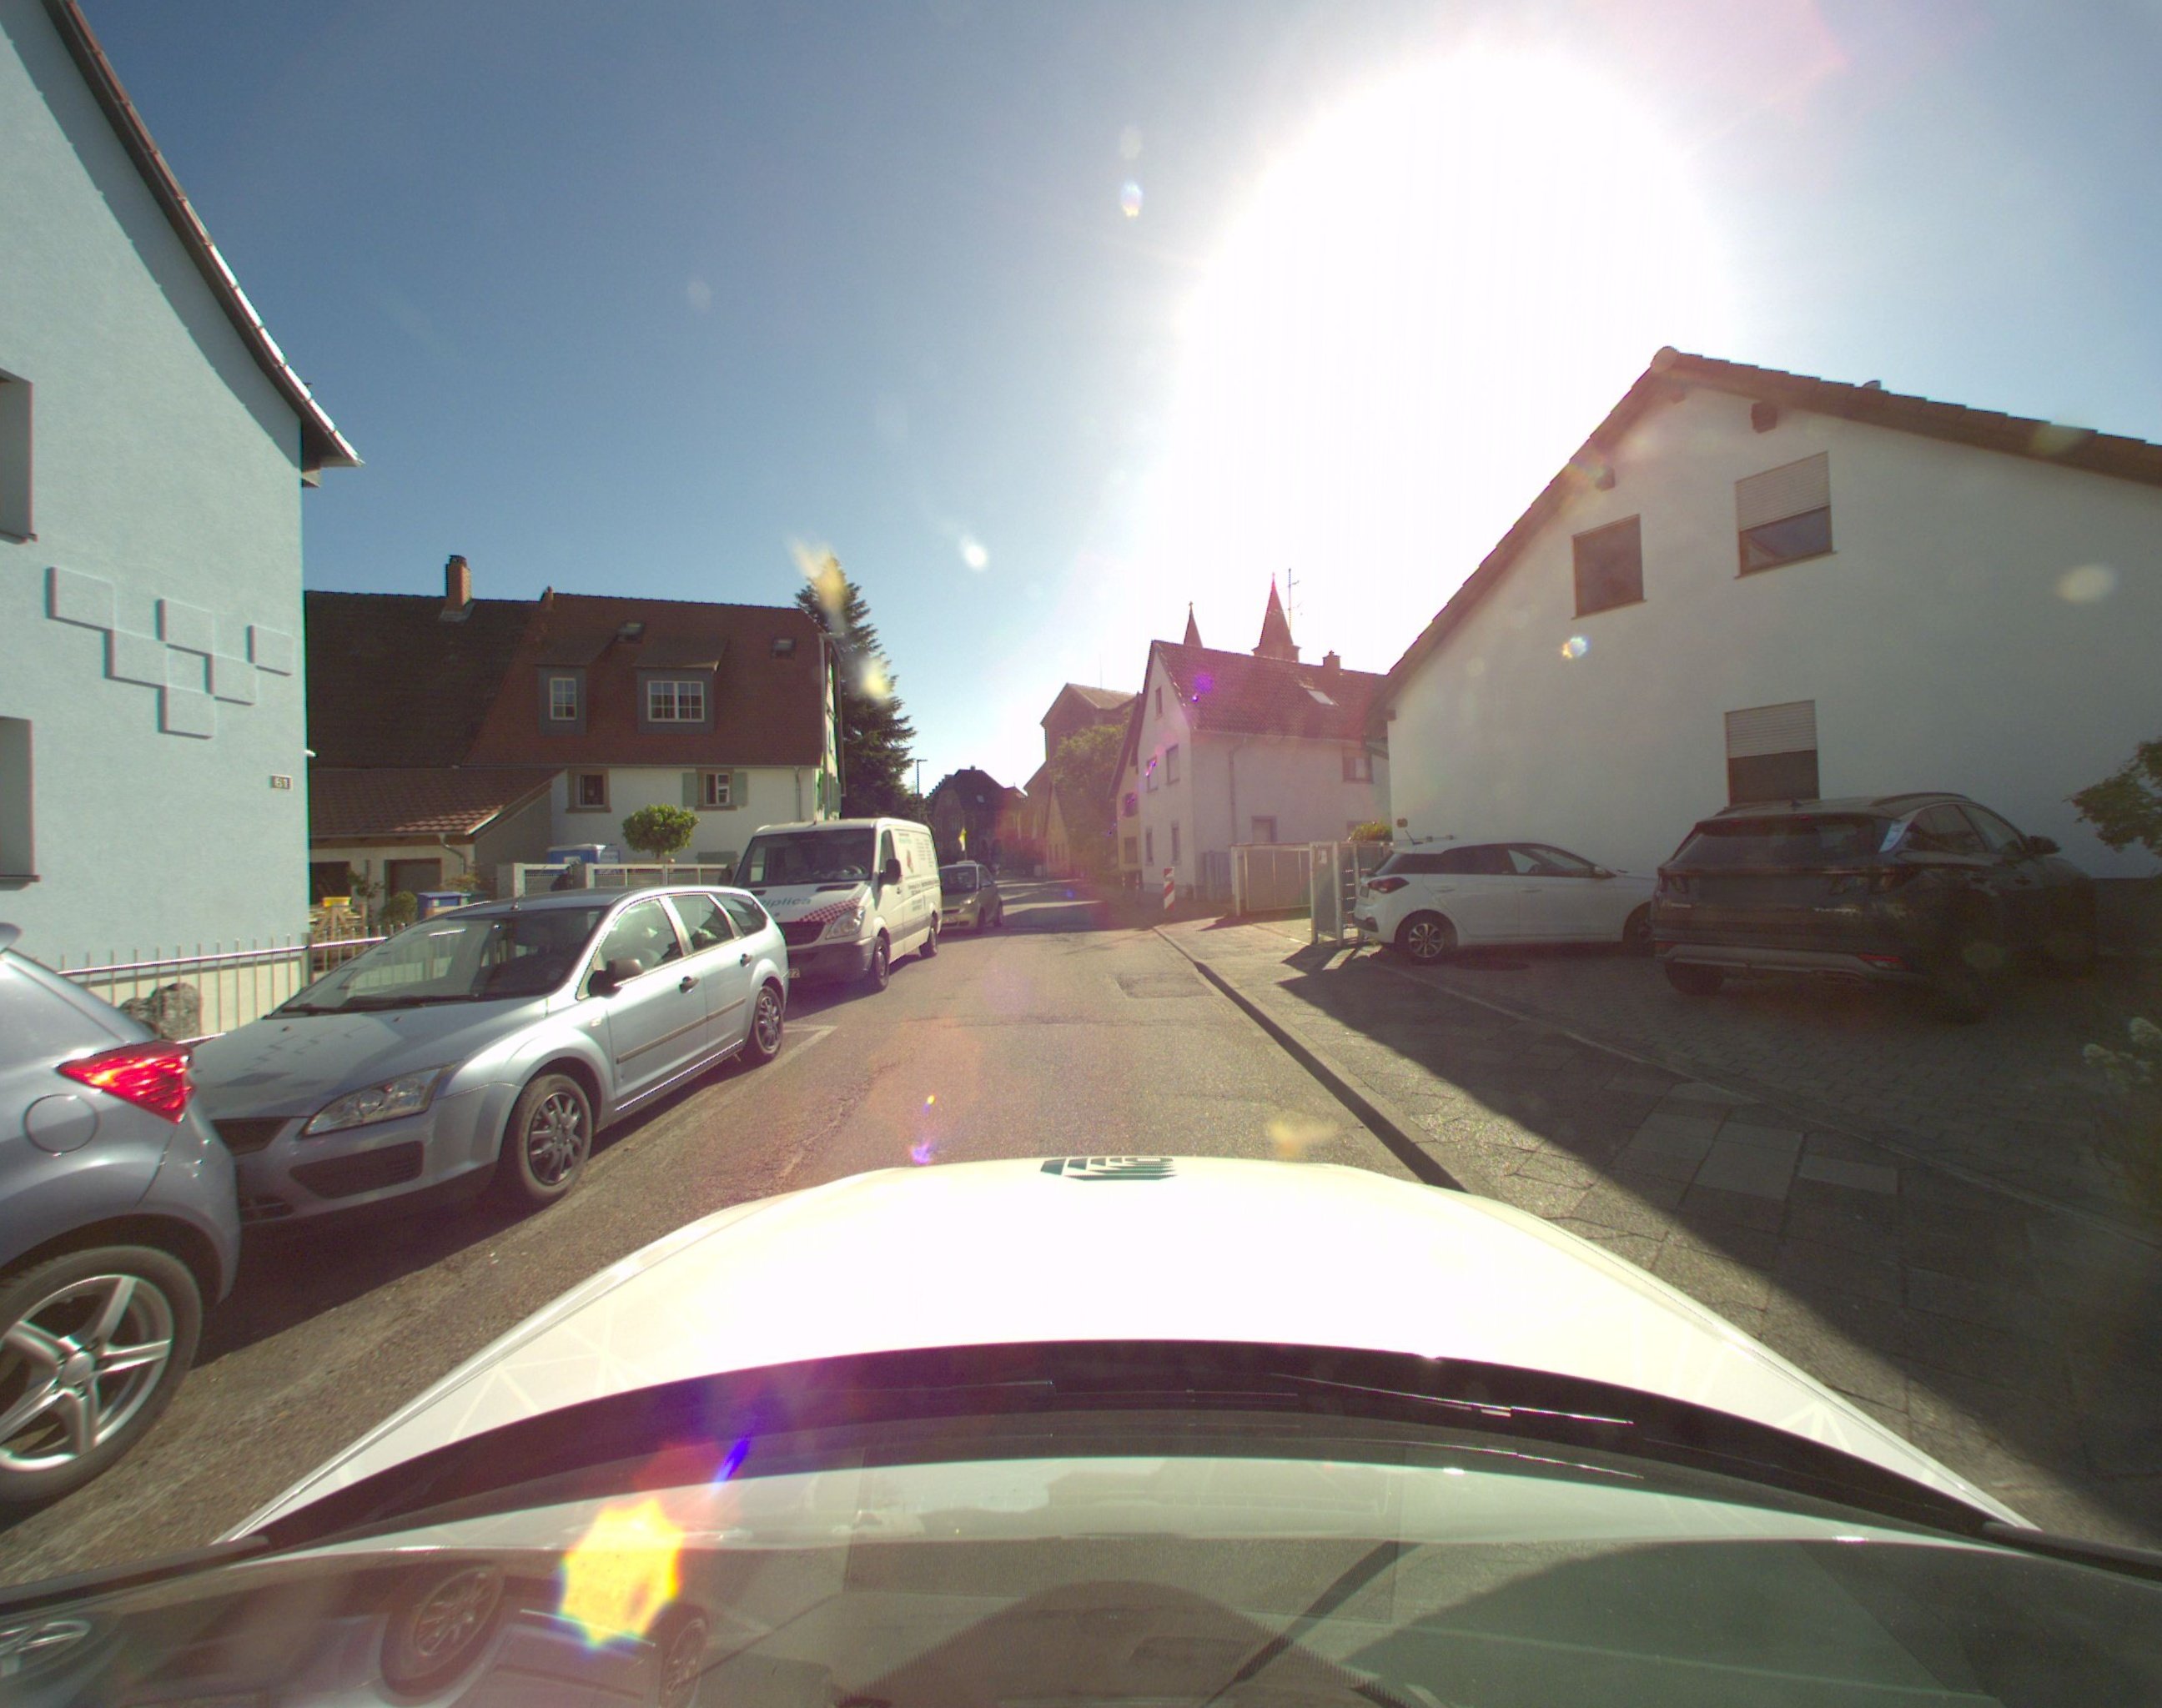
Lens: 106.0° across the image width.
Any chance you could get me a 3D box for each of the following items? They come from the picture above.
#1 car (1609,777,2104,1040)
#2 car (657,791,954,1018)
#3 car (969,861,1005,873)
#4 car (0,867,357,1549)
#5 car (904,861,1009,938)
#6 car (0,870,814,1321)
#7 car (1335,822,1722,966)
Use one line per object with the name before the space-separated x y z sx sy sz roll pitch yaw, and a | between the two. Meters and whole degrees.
car | 6.763 0.280 7.060 4.060 1.688 1.894 -3 0 -28
car | -3.558 0.568 12.163 2.190 2.390 6.064 -4 0 0
car | -12.126 1.668 105.335 4.270 1.400 1.697 -3 0 -41
car | -3.444 0.870 0.889 1.709 1.598 3.925 -3 0 0
car | -2.768 0.979 18.709 1.565 1.546 2.971 -3 0 7
car | -3.297 0.941 5.157 1.706 1.504 4.235 -3 0 0
car | 5.435 0.490 10.411 3.889 1.492 1.852 -3 -1 8
